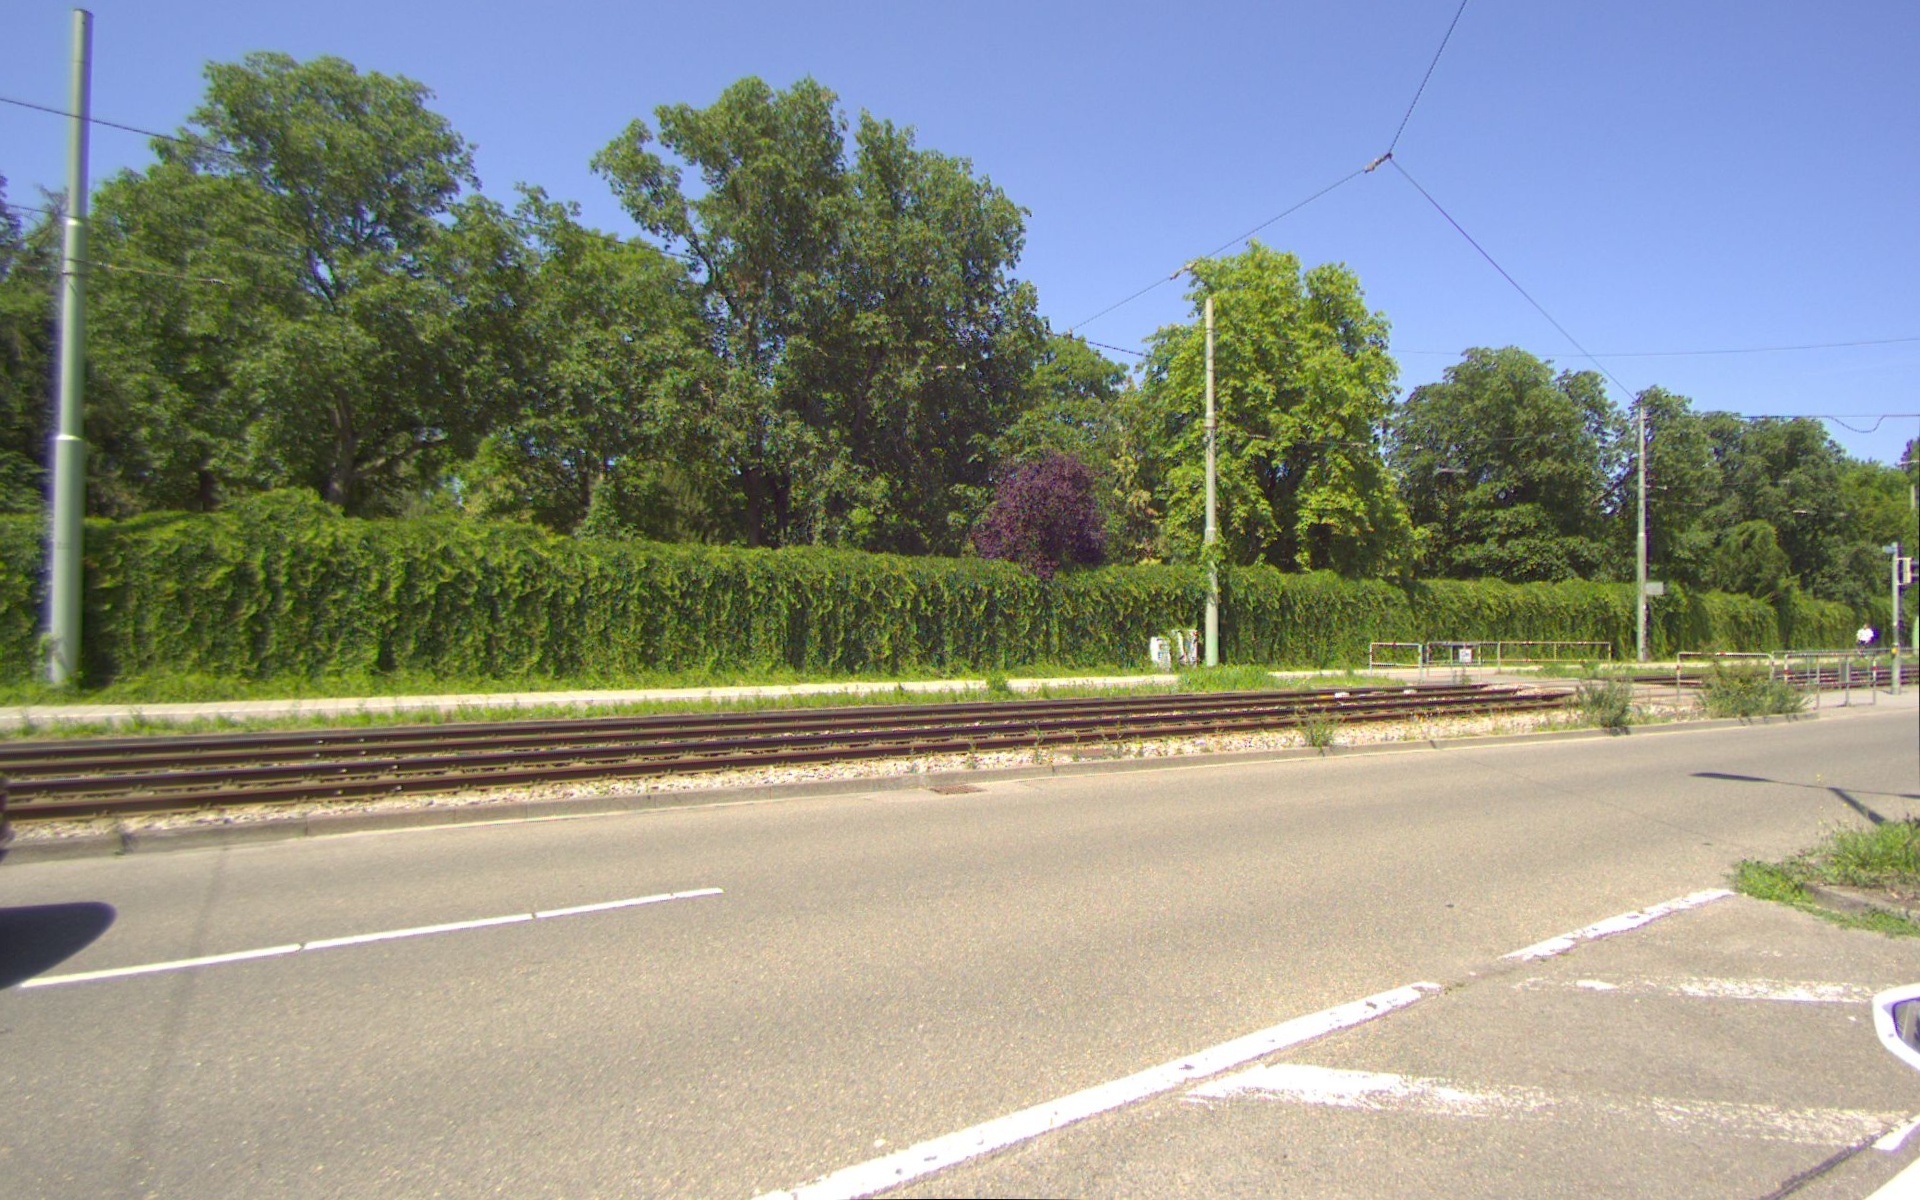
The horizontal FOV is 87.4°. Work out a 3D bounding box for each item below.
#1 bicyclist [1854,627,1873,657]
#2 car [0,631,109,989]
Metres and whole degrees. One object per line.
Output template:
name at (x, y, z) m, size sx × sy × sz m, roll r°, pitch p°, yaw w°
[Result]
bicyclist at (44.854, 2.082, 49.845) m, size 0.555 × 1.497 × 0.555 m, roll 1°, pitch -1°, yaw -30°
car at (-5.957, 0.797, 3.303) m, size 4.485 × 1.376 × 1.975 m, roll 1°, pitch -1°, yaw -30°
